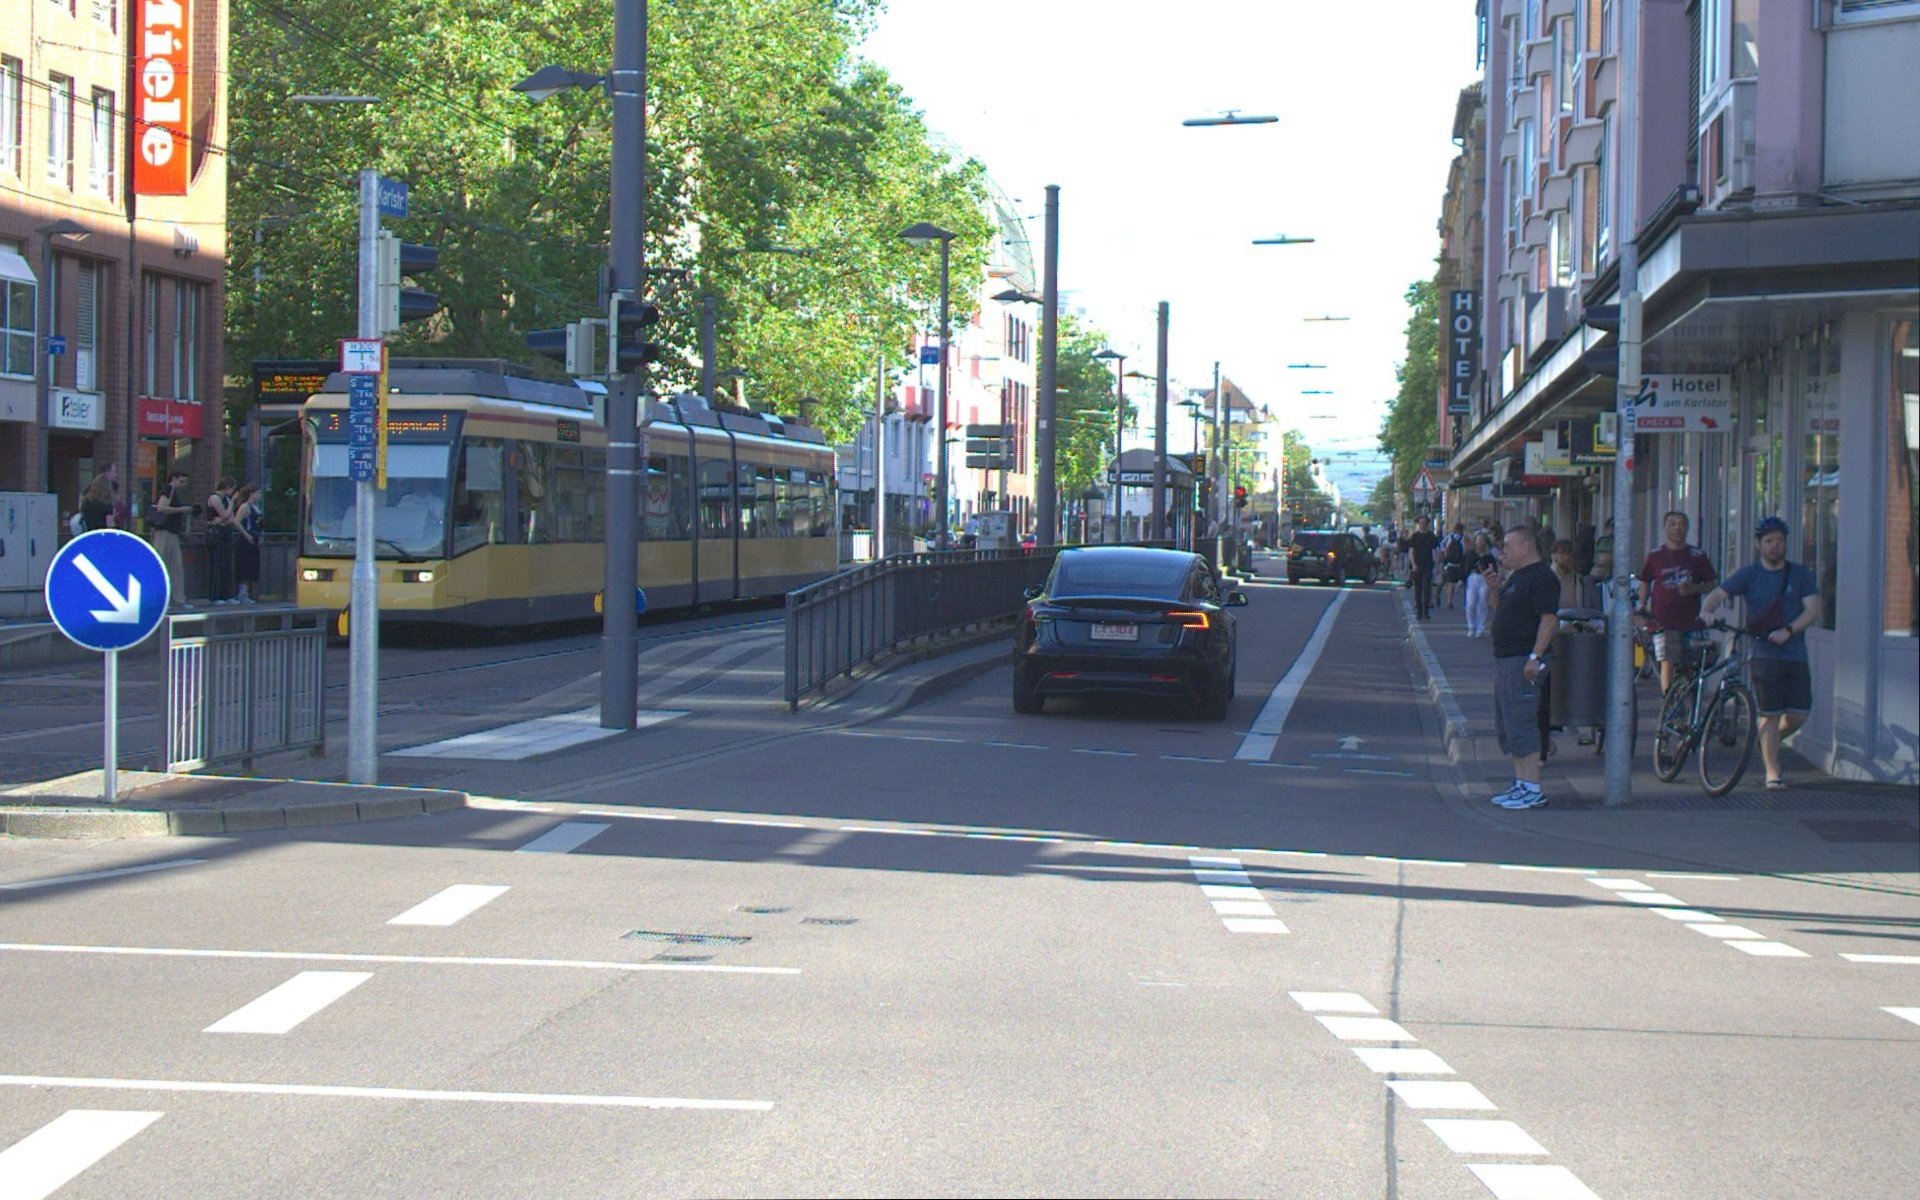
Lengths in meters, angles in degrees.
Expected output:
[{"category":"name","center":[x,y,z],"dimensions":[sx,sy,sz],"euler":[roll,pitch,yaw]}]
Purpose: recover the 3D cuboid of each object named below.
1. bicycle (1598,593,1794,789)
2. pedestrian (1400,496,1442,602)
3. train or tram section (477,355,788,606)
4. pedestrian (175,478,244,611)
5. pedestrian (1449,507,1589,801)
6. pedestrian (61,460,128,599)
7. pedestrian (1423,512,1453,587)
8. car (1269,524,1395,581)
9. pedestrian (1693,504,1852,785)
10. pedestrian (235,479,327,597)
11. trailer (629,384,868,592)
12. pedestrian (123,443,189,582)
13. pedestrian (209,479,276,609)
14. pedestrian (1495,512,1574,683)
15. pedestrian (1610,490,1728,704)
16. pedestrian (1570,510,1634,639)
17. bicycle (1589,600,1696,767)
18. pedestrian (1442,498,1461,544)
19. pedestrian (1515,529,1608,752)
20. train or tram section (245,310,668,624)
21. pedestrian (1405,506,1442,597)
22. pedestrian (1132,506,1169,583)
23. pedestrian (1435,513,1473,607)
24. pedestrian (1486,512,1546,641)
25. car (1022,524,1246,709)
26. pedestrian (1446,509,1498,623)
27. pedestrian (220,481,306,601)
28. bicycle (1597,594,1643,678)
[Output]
[{"category":"bicycle","center":[4.754,0.566,22.342],"dimensions":[0.488,1.157,1.974],"euler":[2,1,-10]},{"category":"pedestrian","center":[8.429,-0.934,62.879],"dimensions":[0.697,1.890,0.749],"euler":[2,1,7]},{"category":"train or tram section","center":[-4.983,-1.823,54.609],"dimensions":[2.714,3.534,10.166],"euler":[2,1,7]},{"category":"pedestrian","center":[-9.898,-0.733,45.341],"dimensions":[0.636,1.715,0.585],"euler":[2,1,16]},{"category":"pedestrian","center":[3.475,0.317,21.420],"dimensions":[0.626,1.776,0.918],"euler":[2,1,-3]},{"category":"pedestrian","center":[-9.649,-0.787,38.331],"dimensions":[0.583,1.525,0.637],"euler":[2,1,-5]},{"category":"pedestrian","center":[12.310,-1.301,88.625],"dimensions":[0.697,1.890,0.749],"euler":[2,1,7]},{"category":"car","center":[11.450,-1.454,105.740],"dimensions":[3.698,1.659,1.742],"euler":[1,2,-39]},{"category":"pedestrian","center":[5.234,0.271,22.168],"dimensions":[0.915,1.748,0.839],"euler":[2,1,13]},{"category":"pedestrian","center":[-9.608,-0.883,48.701],"dimensions":[1.105,1.619,0.848],"euler":[2,1,-1]},{"category":"trailer","center":[-3.802,-2.030,64.297],"dimensions":[2.714,3.534,9.356],"euler":[2,1,7]},{"category":"pedestrian","center":[-10.065,-1.097,43.069],"dimensions":[0.635,1.715,0.585],"euler":[2,1,1]},{"category":"pedestrian","center":[-9.629,-0.757,46.141],"dimensions":[0.636,1.715,0.608],"euler":[2,1,16]},{"category":"pedestrian","center":[5.755,-0.030,34.456],"dimensions":[0.697,1.672,0.749],"euler":[2,1,7]},{"category":"pedestrian","center":[5.687,-0.030,27.593],"dimensions":[0.686,1.682,0.671],"euler":[2,1,-7]},{"category":"pedestrian","center":[8.503,-0.337,45.570],"dimensions":[0.747,1.672,0.699],"euler":[2,1,8]},{"category":"bicycle","center":[4.878,0.568,24.492],"dimensions":[0.489,1.098,2.123],"euler":[2,1,17]},{"category":"pedestrian","center":[20.246,-3.244,141.523],"dimensions":[0.697,1.872,0.749],"euler":[2,1,8]},{"category":"pedestrian","center":[4.301,0.283,24.603],"dimensions":[0.471,1.557,0.545],"euler":[2,1,-6]},{"category":"train or tram section","center":[-6.227,-1.634,44.563],"dimensions":[2.730,3.530,10.084],"euler":[2,1,7]},{"category":"pedestrian","center":[9.718,-1.016,72.072],"dimensions":[0.697,1.890,0.749],"euler":[2,1,7]},{"category":"pedestrian","center":[4.441,-1.297,80.139],"dimensions":[0.757,1.763,0.699],"euler":[2,1,6]},{"category":"pedestrian","center":[10.180,-0.826,70.865],"dimensions":[0.697,1.890,0.749],"euler":[2,1,7]},{"category":"pedestrian","center":[7.318,-0.314,45.276],"dimensions":[0.697,1.672,0.749],"euler":[2,1,7]},{"category":"car","center":[1.519,0.096,30.571],"dimensions":[1.790,1.445,3.940],"euler":[3,2,2]},{"category":"pedestrian","center":[7.667,-0.516,51.476],"dimensions":[0.697,1.672,0.749],"euler":[2,1,7]},{"category":"pedestrian","center":[-9.662,-0.815,47.693],"dimensions":[0.999,1.619,0.848],"euler":[2,1,-1]},{"category":"bicycle","center":[7.065,0.381,36.821],"dimensions":[0.414,0.854,1.237],"euler":[2,1,9]}]
